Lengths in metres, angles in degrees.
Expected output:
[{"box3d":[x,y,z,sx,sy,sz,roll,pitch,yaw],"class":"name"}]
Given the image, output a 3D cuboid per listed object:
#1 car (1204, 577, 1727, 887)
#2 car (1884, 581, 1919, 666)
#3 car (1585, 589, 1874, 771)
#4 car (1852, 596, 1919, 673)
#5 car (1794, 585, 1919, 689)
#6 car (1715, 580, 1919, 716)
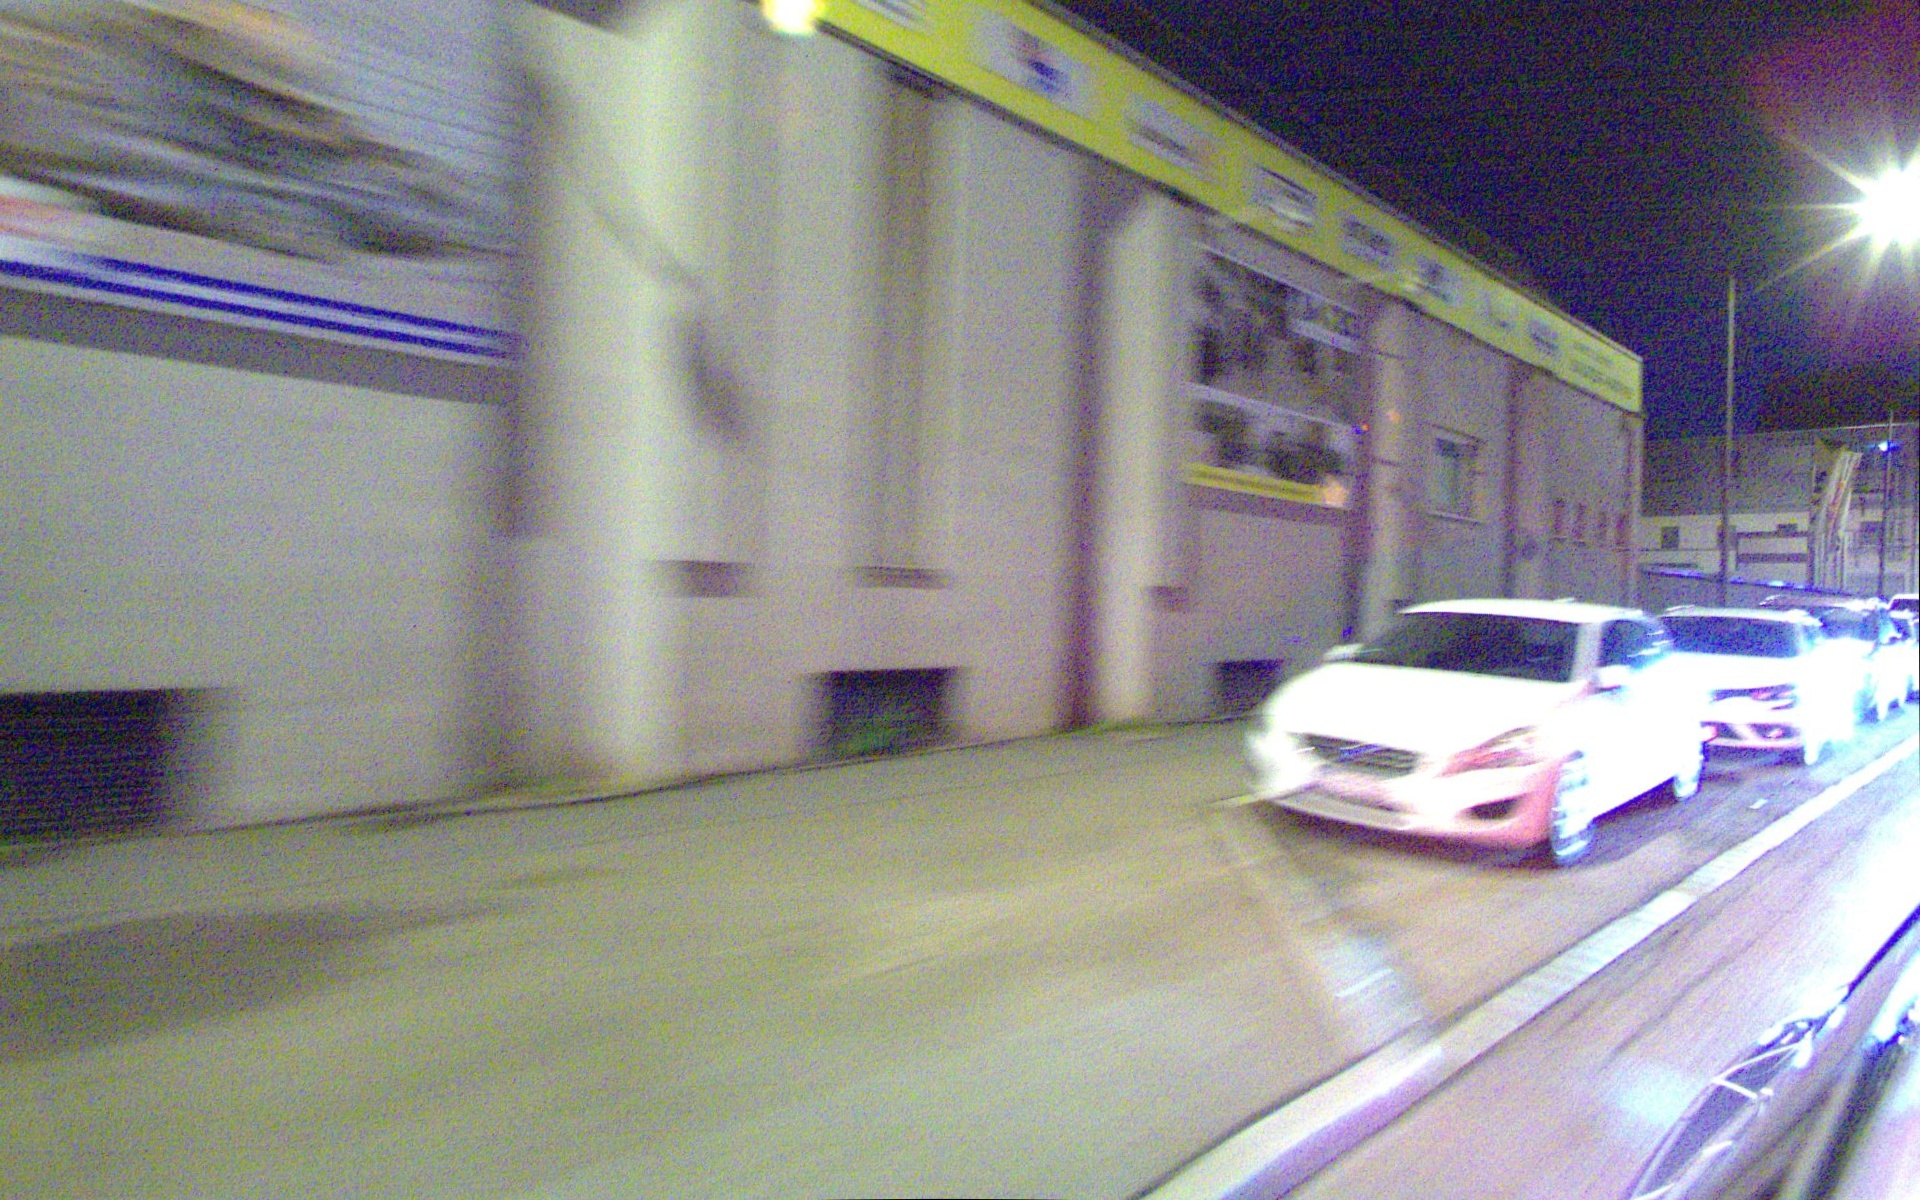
[{"box3d":[3.790,0.634,7.155,4.470,1.507,1.862,0,1,-43],"class":"car"},{"box3d":[23.819,0.605,24.298,4.689,1.898,1.804,1,2,-41],"class":"car"},{"box3d":[8.493,0.696,11.005,4.470,1.563,1.777,0,1,-43],"class":"car"},{"box3d":[20.171,0.724,20.956,4.112,1.445,1.821,1,2,-39],"class":"car"},{"box3d":[16.558,0.620,18.195,4.550,1.608,1.826,1,1,-43],"class":"car"},{"box3d":[12.684,0.618,14.795,4.381,1.643,1.826,1,1,-43],"class":"car"}]
